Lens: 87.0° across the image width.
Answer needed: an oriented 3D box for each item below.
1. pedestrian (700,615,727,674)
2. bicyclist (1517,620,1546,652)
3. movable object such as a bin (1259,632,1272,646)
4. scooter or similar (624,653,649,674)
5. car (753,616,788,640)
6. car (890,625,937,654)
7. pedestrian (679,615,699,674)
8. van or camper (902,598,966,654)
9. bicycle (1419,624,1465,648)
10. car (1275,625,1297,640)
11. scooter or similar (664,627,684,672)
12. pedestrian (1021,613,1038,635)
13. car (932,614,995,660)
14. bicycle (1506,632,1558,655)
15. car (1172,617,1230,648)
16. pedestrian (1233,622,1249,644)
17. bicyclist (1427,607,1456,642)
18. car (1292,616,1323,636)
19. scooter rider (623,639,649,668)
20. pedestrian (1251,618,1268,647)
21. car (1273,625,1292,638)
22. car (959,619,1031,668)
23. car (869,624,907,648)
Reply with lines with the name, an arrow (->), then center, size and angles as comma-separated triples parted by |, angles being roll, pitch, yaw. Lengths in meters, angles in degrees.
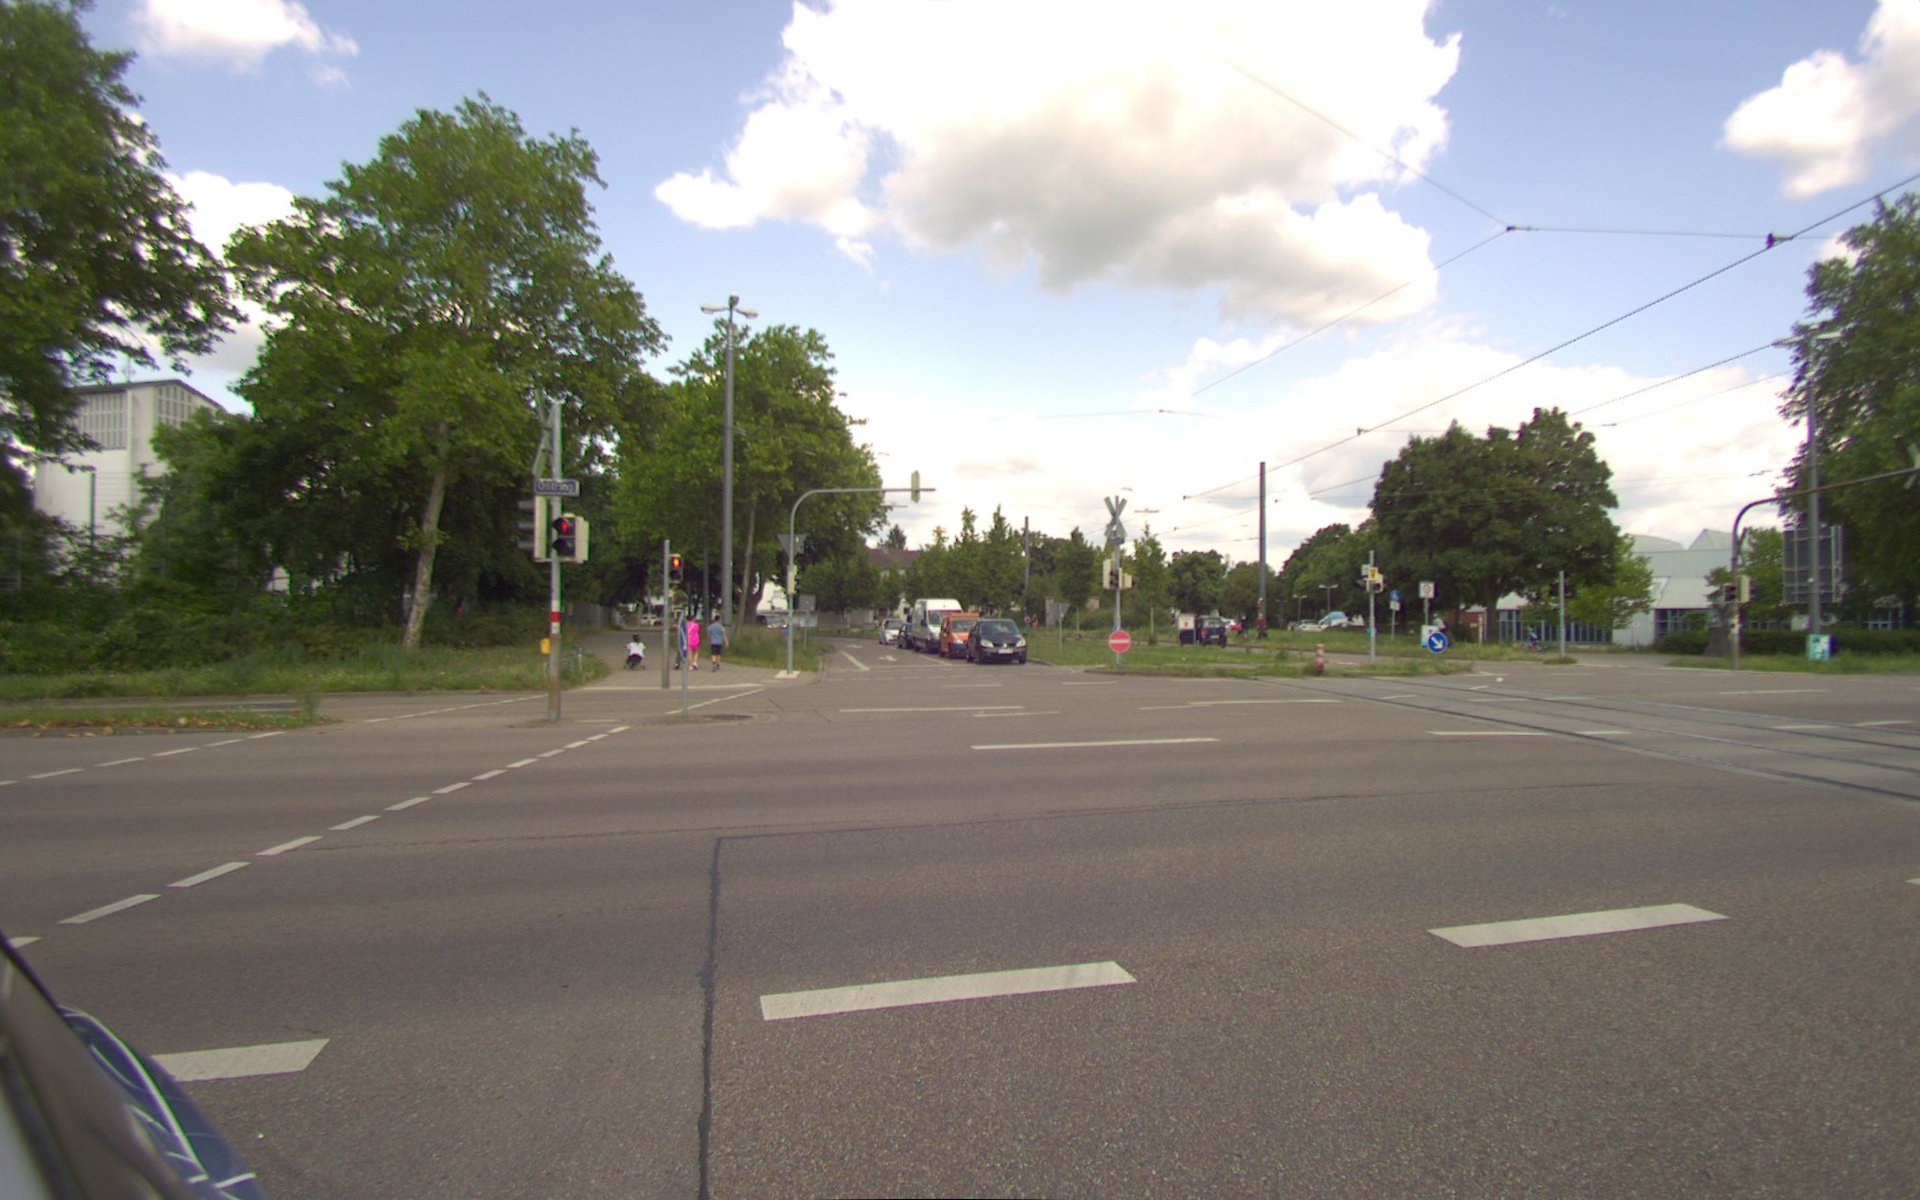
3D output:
pedestrian -> -6.941, 1.250, 28.523 | 0.623, 1.631, 0.611 | -1, -1, -3
bicyclist -> 27.873, 1.747, 49.373 | 0.947, 1.500, 0.838 | 1, -2, -31
movable object such as a bin -> 17.907, 2.299, 59.315 | 0.569, 0.817, 0.461 | -2, -1, -28
scooter or similar -> -8.730, 1.708, 27.314 | 0.601, 0.515, 0.860 | -2, -1, -15
car -> -17.620, 2.633, 94.085 | 1.823, 2.172, 4.396 | 1, -2, -30
car -> -2.561, 2.094, 54.875 | 1.781, 1.442, 4.480 | 0, 0, -13
pedestrian -> -7.656, 1.241, 28.578 | 0.415, 1.631, 0.597 | -1, -1, -3
van or camper -> -1.332, 1.277, 48.793 | 1.949, 2.544, 6.051 | 1, -2, -12
bicycle -> 23.670, 1.773, 49.752 | 0.935, 1.163, 1.989 | 0, -1, -15
car -> 37.483, 3.703, 116.410 | 1.980, 1.652, 4.372 | 0, -1, 13
scooter or similar -> -8.107, 1.386, 28.680 | 0.317, 1.241, 0.776 | -2, -1, -1
pedestrian -> 6.395, 2.217, 93.161 | 1.087, 2.029, 1.181 | 1, -2, -23
car -> 0.082, 1.515, 42.218 | 1.853, 1.813, 4.380 | 0, -1, -11
bicycle -> 27.881, 2.116, 49.349 | 0.935, 1.048, 1.990 | 1, -2, -31
car -> 13.209, 1.773, 55.673 | 1.699, 1.629, 4.007 | 0, -1, -9
pedestrian -> 17.748, 2.103, 63.987 | 0.640, 1.364, 0.754 | -2, -1, -12
bicyclist -> 23.670, 1.205, 49.758 | 0.947, 1.735, 0.838 | 0, -1, -16
car -> 29.457, 2.173, 85.854 | 1.980, 1.652, 4.372 | 0, -1, 13
scooter rider -> -8.741, 1.440, 27.308 | 0.602, 0.734, 0.861 | -2, -1, -14
pedestrian -> 17.685, 1.905, 59.746 | 0.602, 1.657, 0.640 | -2, -1, -26
car -> 43.397, 4.210, 136.228 | 1.980, 1.652, 4.372 | 0, -1, 13
car -> 1.170, 1.490, 35.921 | 1.707, 1.643, 4.061 | 0, -1, -11
car -> -4.531, 2.231, 63.114 | 1.782, 1.442, 4.393 | 0, -1, -11
